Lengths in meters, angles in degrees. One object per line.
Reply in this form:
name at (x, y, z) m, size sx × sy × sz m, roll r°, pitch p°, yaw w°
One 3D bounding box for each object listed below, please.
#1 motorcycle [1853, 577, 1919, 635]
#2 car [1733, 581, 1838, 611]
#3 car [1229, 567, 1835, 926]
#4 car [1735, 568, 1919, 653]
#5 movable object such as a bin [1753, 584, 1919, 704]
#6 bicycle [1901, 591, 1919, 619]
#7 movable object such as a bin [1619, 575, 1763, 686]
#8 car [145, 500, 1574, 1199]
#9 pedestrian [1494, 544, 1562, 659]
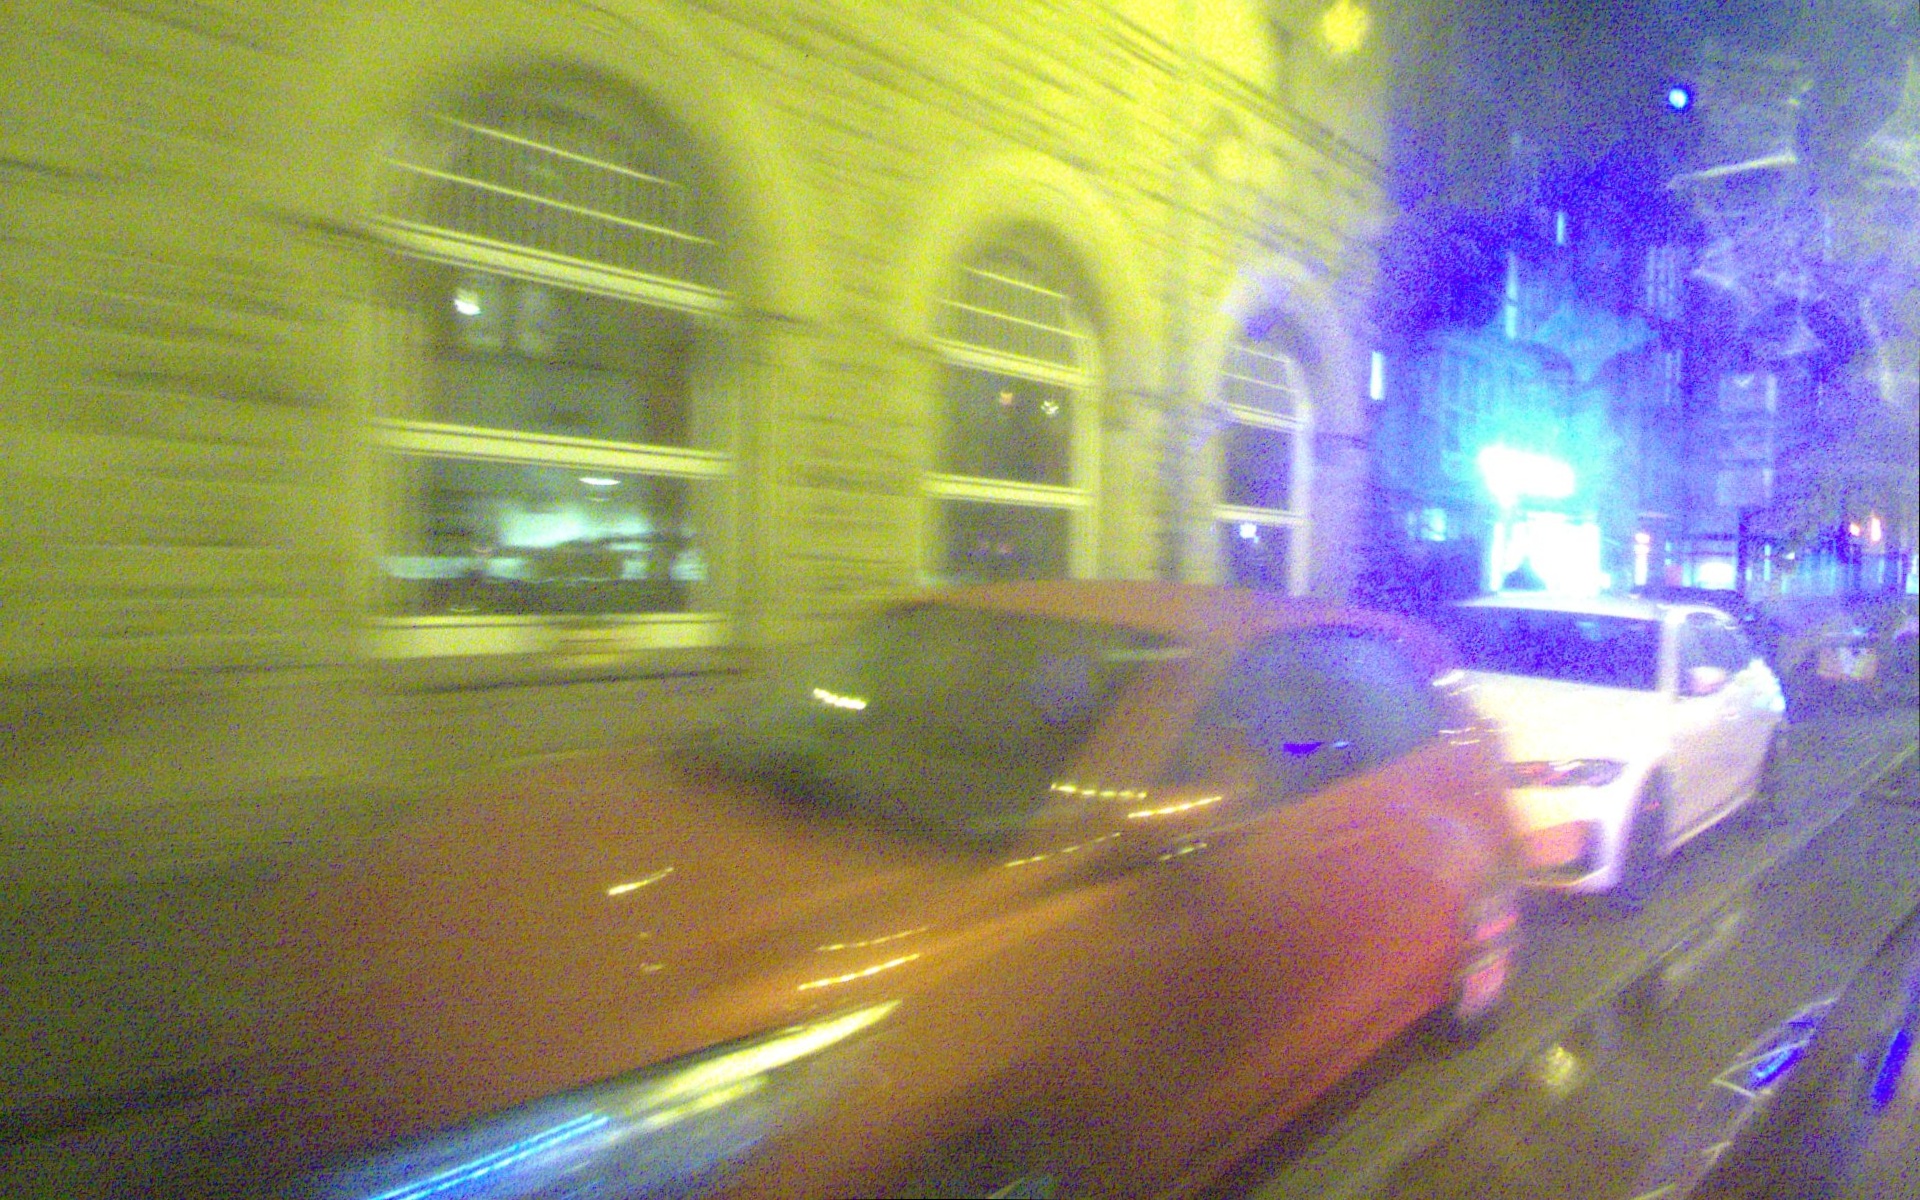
motorcycle at (28.991, 0.203, 30.962) m, size 0.852 × 1.606 × 2.294 m, roll -1°, pitch 6°, yaw -40°
car at (43.186, -0.213, 52.984) m, size 1.861 × 1.504 × 3.996 m, roll 0°, pitch 0°, yaw -39°
car at (3.810, 0.566, 6.392) m, size 4.340 × 1.482 × 1.997 m, roll -1°, pitch 2°, yaw -41°
car at (19.967, 0.232, 22.092) m, size 1.749 × 1.549 × 4.524 m, roll 0°, pitch 5°, yaw -41°
movable object such as a bin at (11.486, 0.534, 13.246) m, size 1.321 × 1.447 × 1.196 m, roll 1°, pitch 1°, yaw 13°
bicycle at (35.077, 0.251, 36.499) m, size 0.360 × 0.963 × 1.531 m, roll -2°, pitch 8°, yaw -44°
movable object such as a bin at (10.212, 0.390, 14.170) m, size 1.029 × 1.447 × 1.315 m, roll 0°, pitch 1°, yaw -31°
car at (0.232, 0.624, 2.866) m, size 3.828 × 1.517 × 1.691 m, roll -1°, pitch 2°, yaw -45°
pedestrian at (9.296, 0.018, 16.574) m, size 0.612 × 1.810 × 0.705 m, roll 1°, pitch 2°, yaw -37°
